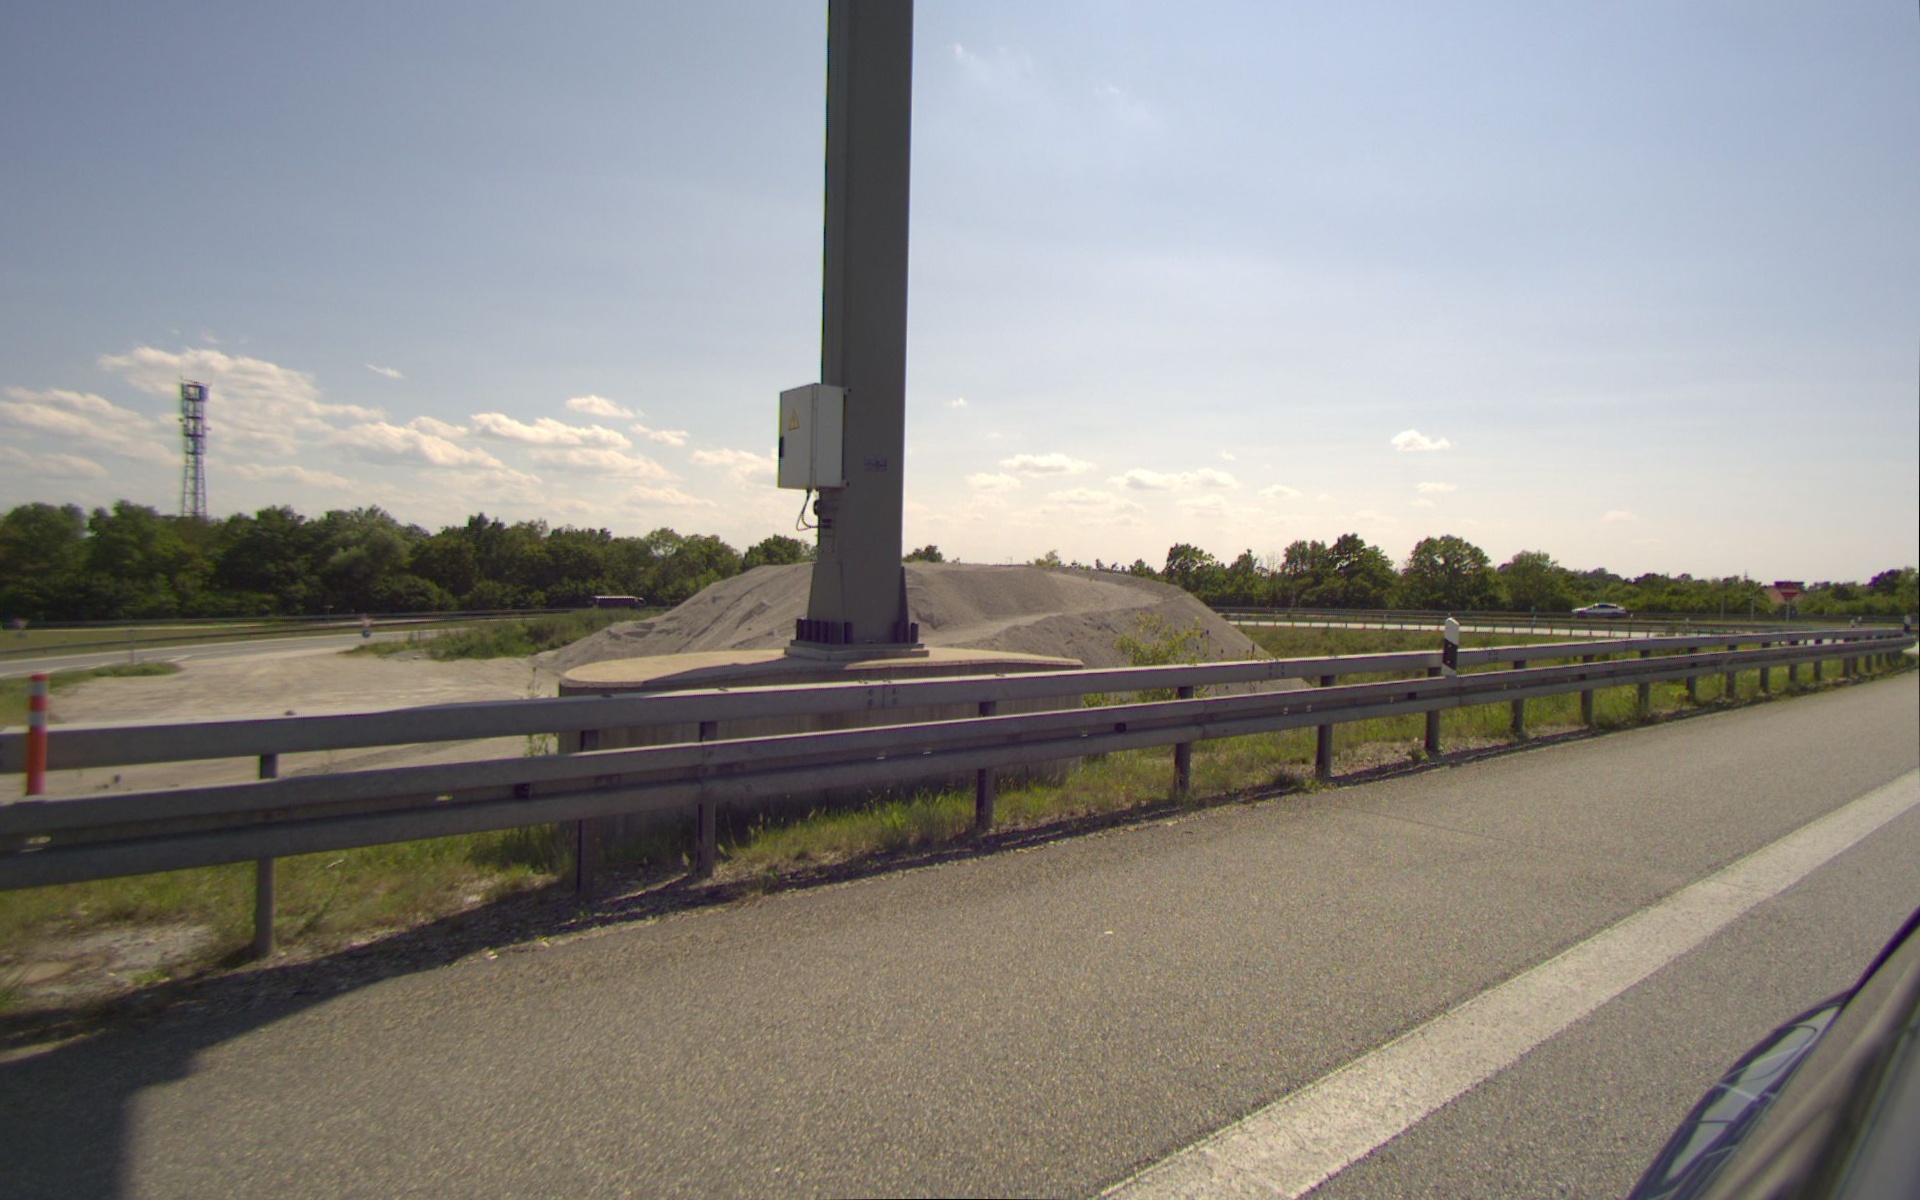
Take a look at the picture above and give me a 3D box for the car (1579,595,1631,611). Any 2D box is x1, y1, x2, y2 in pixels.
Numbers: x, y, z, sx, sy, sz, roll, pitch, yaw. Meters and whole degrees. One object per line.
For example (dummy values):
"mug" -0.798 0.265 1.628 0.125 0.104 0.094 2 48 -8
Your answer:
"car" 65.408 0.312 102.710 4.255 1.527 1.982 0 0 26

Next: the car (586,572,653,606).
"car" -39.062 -1.252 116.254 6.947 3.676 1.999 -1 -2 -36
